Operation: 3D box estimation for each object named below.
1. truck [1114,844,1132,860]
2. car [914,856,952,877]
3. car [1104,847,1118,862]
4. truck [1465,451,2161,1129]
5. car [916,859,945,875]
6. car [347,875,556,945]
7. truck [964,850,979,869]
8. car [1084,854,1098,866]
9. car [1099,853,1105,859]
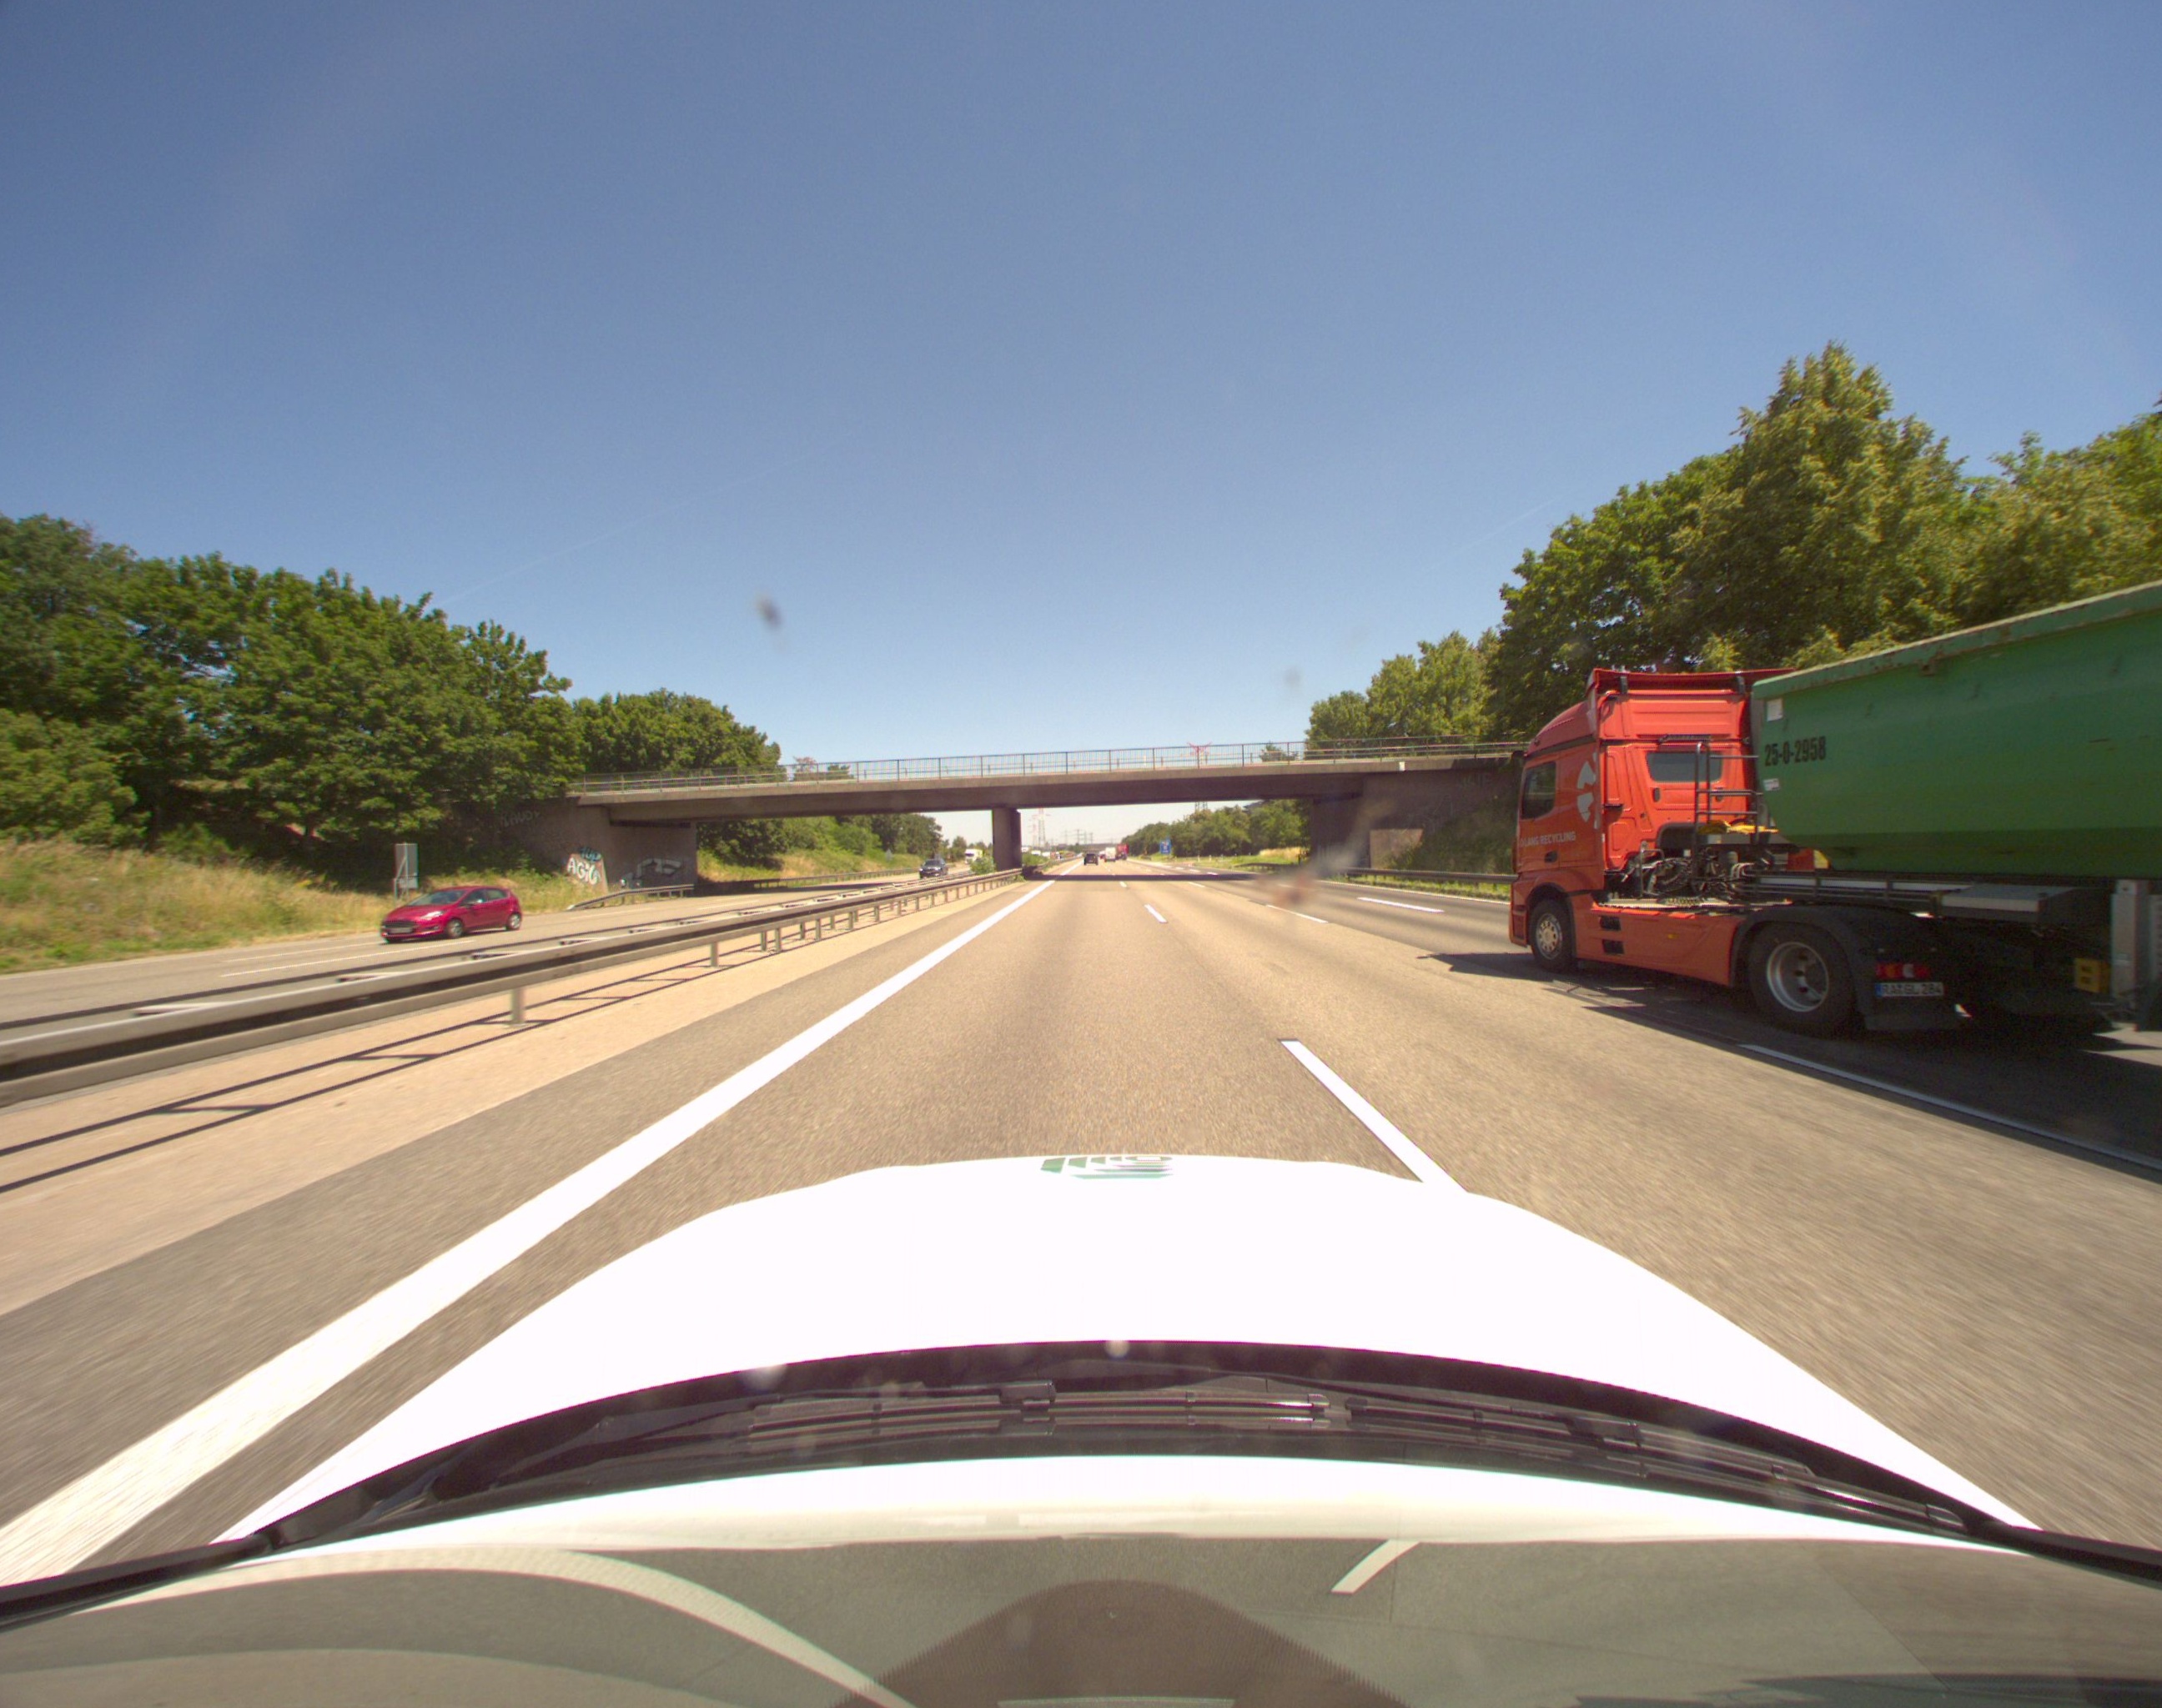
[{"bbox_3d":[10.731,-0.589,210.623,4.316,3.941,16.081,0,0,1],"label":"truck"},{"bbox_3d":[-12.649,1.064,69.849,2.220,1.611,5.060,-3,0,0],"label":"car"},{"bbox_3d":[5.764,0.170,155.614,2.612,2.759,6.097,0,0,1],"label":"car"},{"bbox_3d":[7.422,-0.350,6.893,2.671,3.798,12.479,0,0,1],"label":"truck"},{"bbox_3d":[-16.861,1.388,91.556,2.220,1.611,5.060,-3,0,0],"label":"car"},{"bbox_3d":[-17.967,1.521,23.643,2.220,1.611,4.787,-3,0,0],"label":"car"},{"bbox_3d":[-30.706,1.538,228.199,3.063,4.827,7.710,-4,0,-2],"label":"truck"},{"bbox_3d":[1.441,0.836,115.017,1.987,1.750,4.000,0,0,0],"label":"car"},{"bbox_3d":[6.125,0.656,241.566,1.741,1.634,4.004,0,0,1],"label":"car"}]
